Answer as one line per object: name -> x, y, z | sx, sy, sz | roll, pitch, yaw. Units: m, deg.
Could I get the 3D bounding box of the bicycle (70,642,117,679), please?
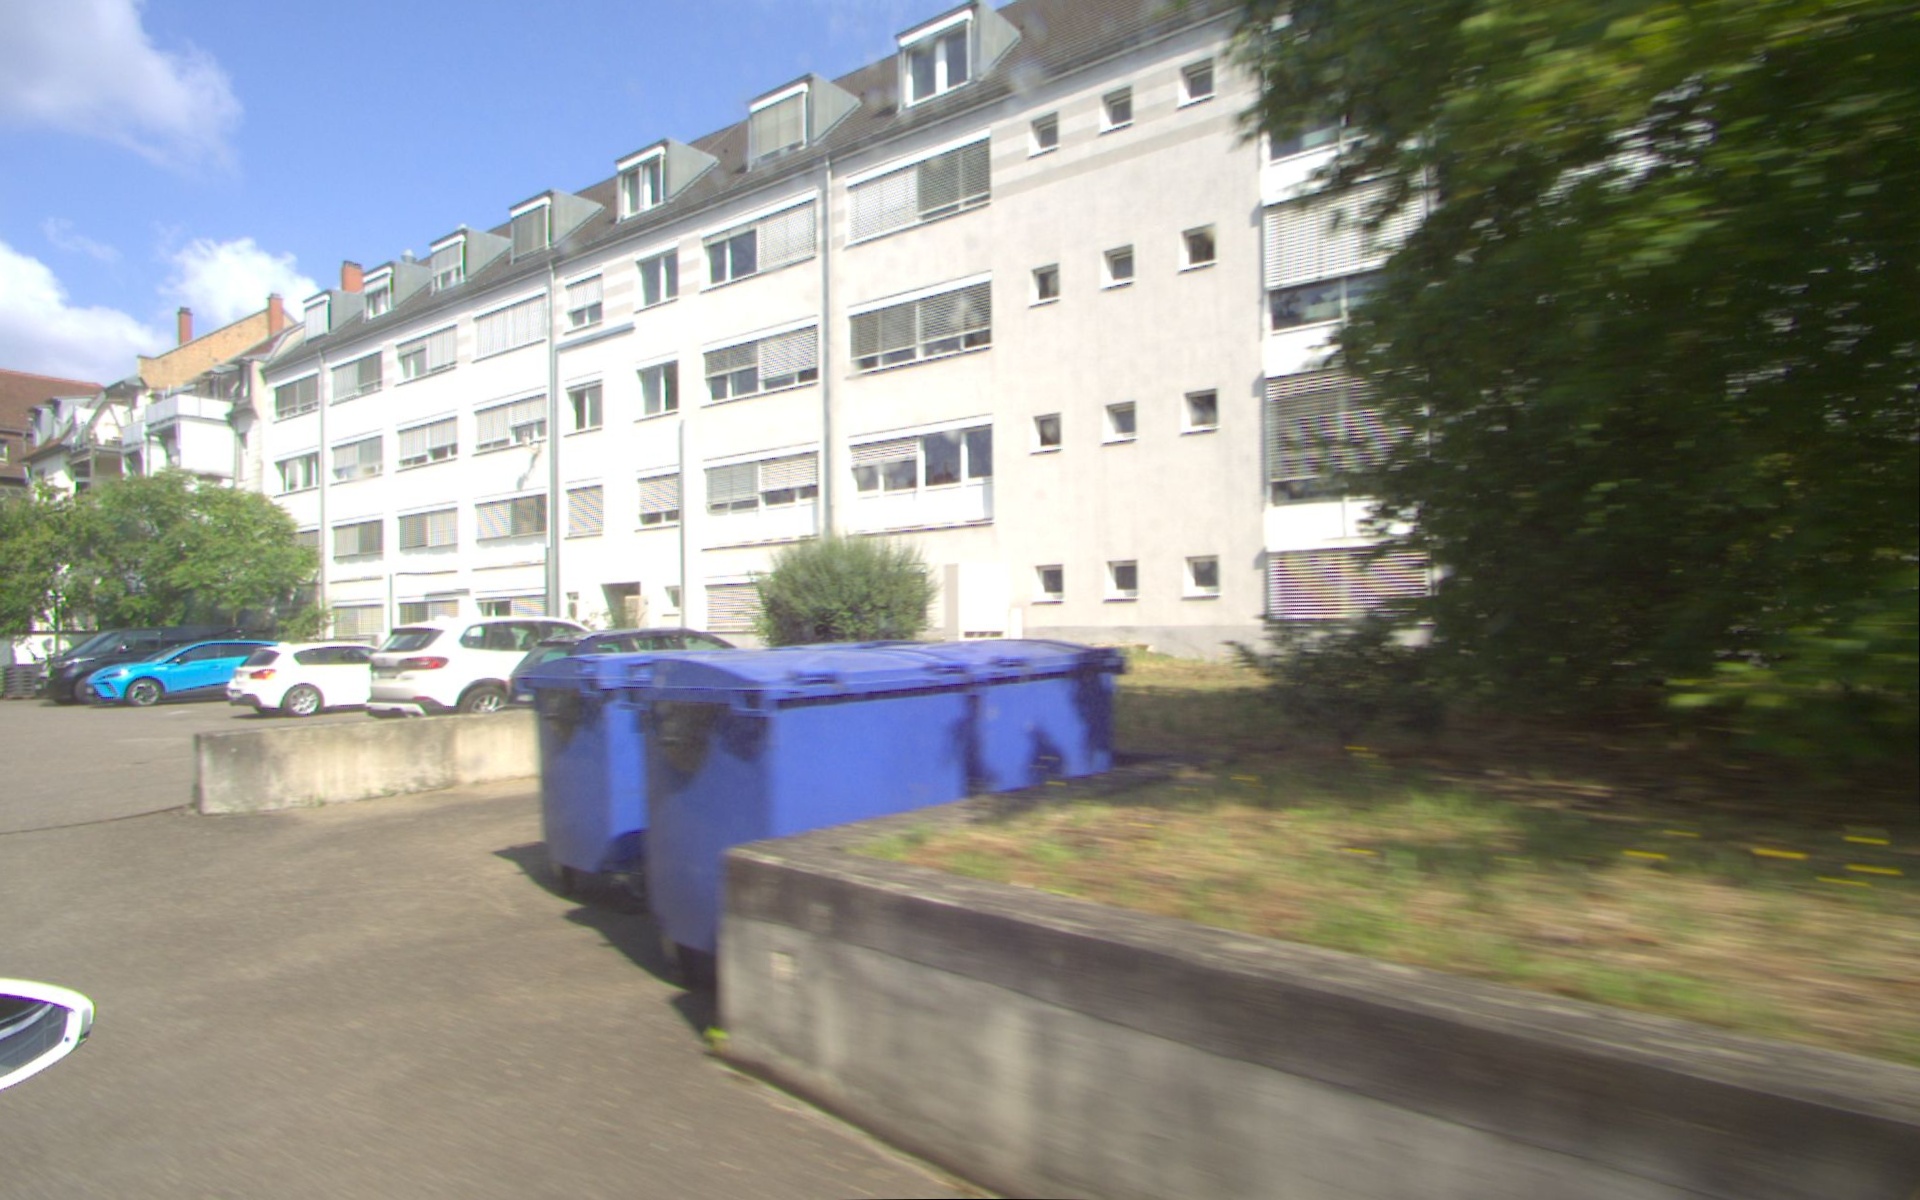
bicycle -> -28.289, 1.952, 32.683 | 1.831, 1.132, 0.640 | 0, -1, 32

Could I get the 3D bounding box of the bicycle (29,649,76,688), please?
bicycle -> -28.561, 2.144, 31.507 | 1.831, 1.132, 0.640 | 0, -1, 32

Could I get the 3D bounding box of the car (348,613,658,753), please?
car -> -6.923, 1.136, 15.542 | 1.923, 1.769, 3.974 | 1, 1, 35

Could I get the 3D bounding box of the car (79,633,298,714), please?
car -> -18.885, 1.723, 24.670 | 1.606, 1.595, 3.974 | 2, 2, 35

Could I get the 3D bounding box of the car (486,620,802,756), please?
car -> -4.340, 1.139, 14.329 | 1.731, 1.627, 4.102 | 0, -2, 35

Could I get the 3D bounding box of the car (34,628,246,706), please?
car -> -21.184, 1.683, 26.024 | 1.641, 1.840, 3.977 | 0, -1, 35

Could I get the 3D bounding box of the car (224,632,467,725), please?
car -> -12.581, 1.530, 20.720 | 1.606, 1.465, 3.974 | 2, 2, 35
